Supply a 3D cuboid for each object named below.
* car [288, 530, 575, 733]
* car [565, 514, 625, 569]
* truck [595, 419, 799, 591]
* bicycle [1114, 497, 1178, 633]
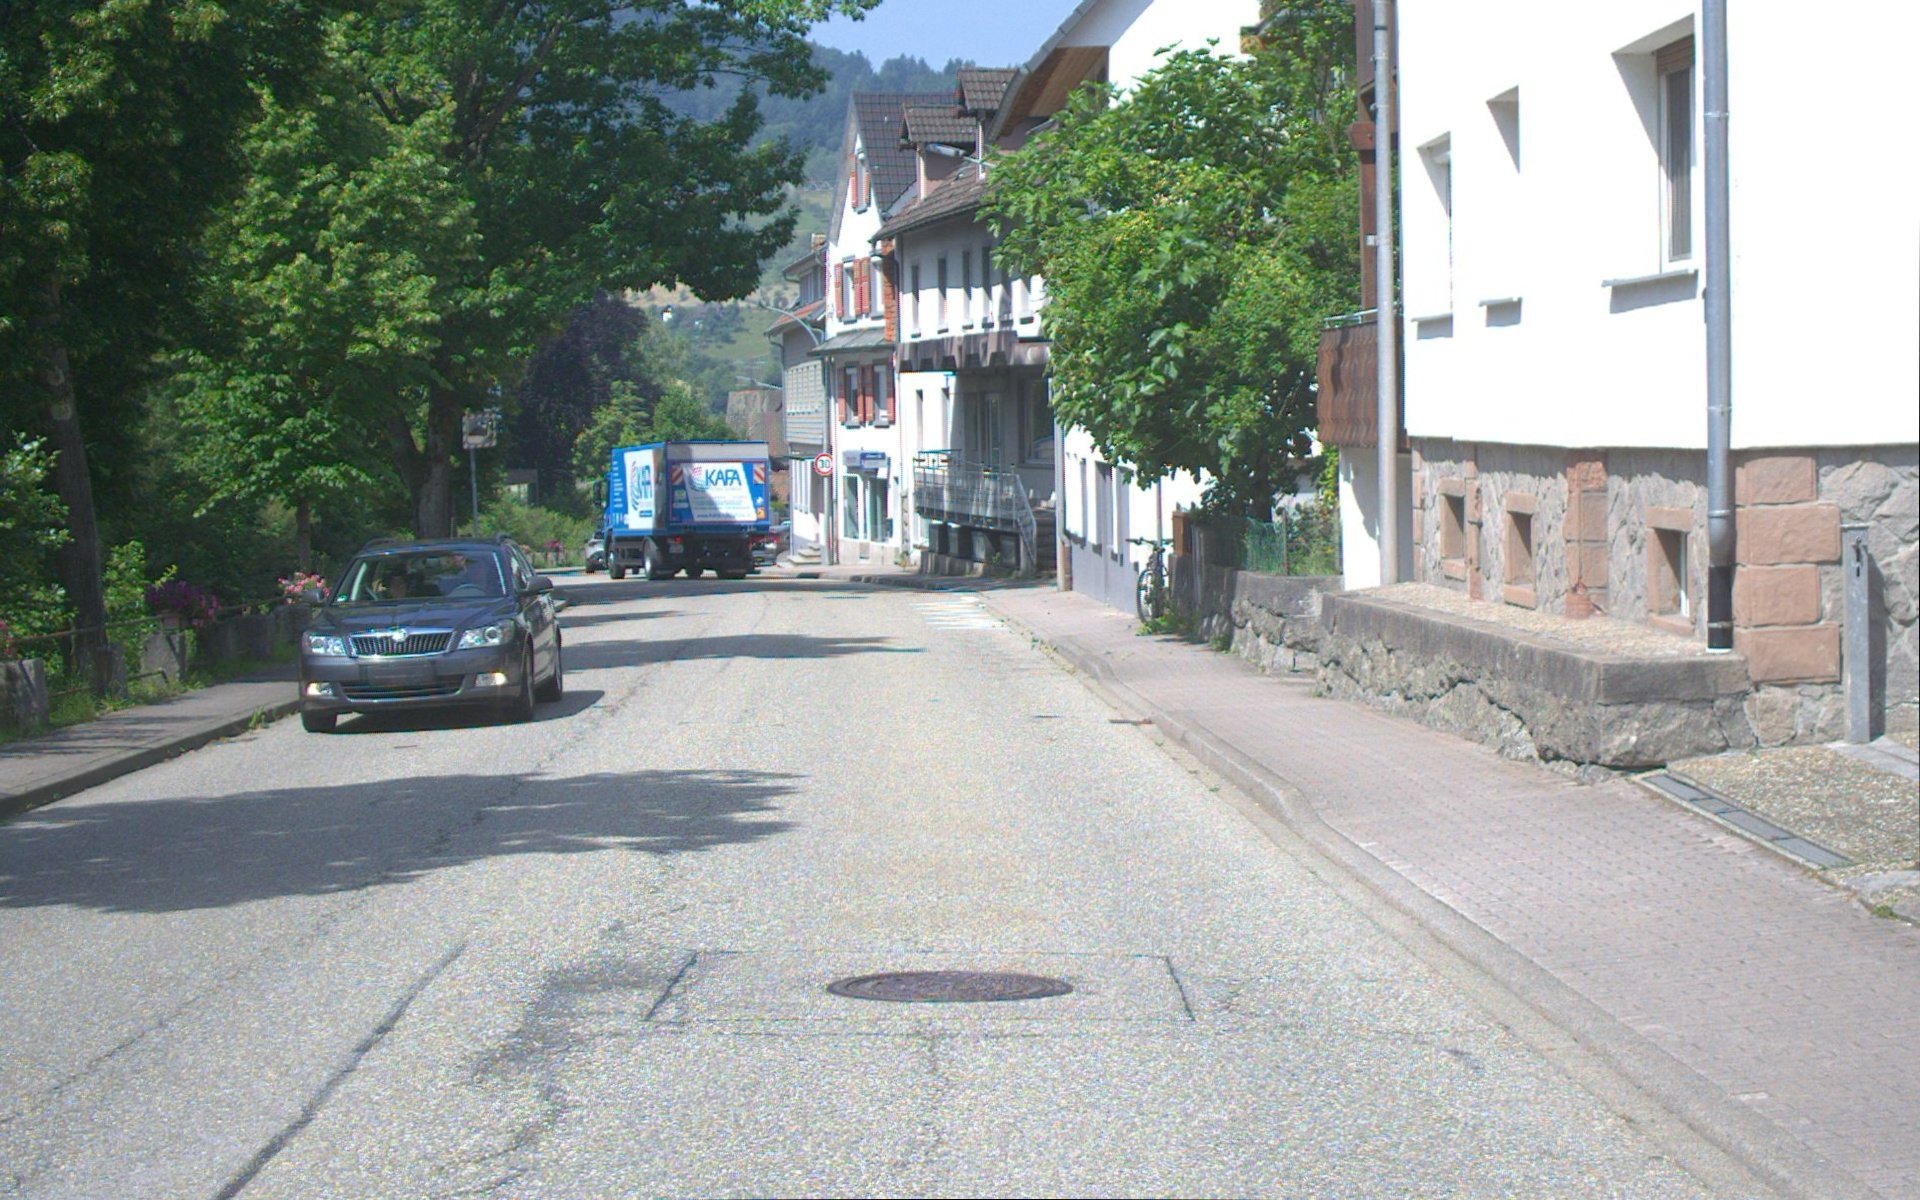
[{"bbox_3d":[-4.125,0.193,27.414,1.666,1.413,4.087,-3,1,-1],"label":"car"},{"bbox_3d":[-13.014,-2.075,122.413,1.773,1.728,4.001,-5,0,-9],"label":"car"},{"bbox_3d":[-6.812,-2.330,87.578,3.362,3.769,8.442,-5,0,-15],"label":"truck"},{"bbox_3d":[2.002,-0.405,37.200,0.425,1.391,2.277,-5,2,-1],"label":"bicycle"}]
